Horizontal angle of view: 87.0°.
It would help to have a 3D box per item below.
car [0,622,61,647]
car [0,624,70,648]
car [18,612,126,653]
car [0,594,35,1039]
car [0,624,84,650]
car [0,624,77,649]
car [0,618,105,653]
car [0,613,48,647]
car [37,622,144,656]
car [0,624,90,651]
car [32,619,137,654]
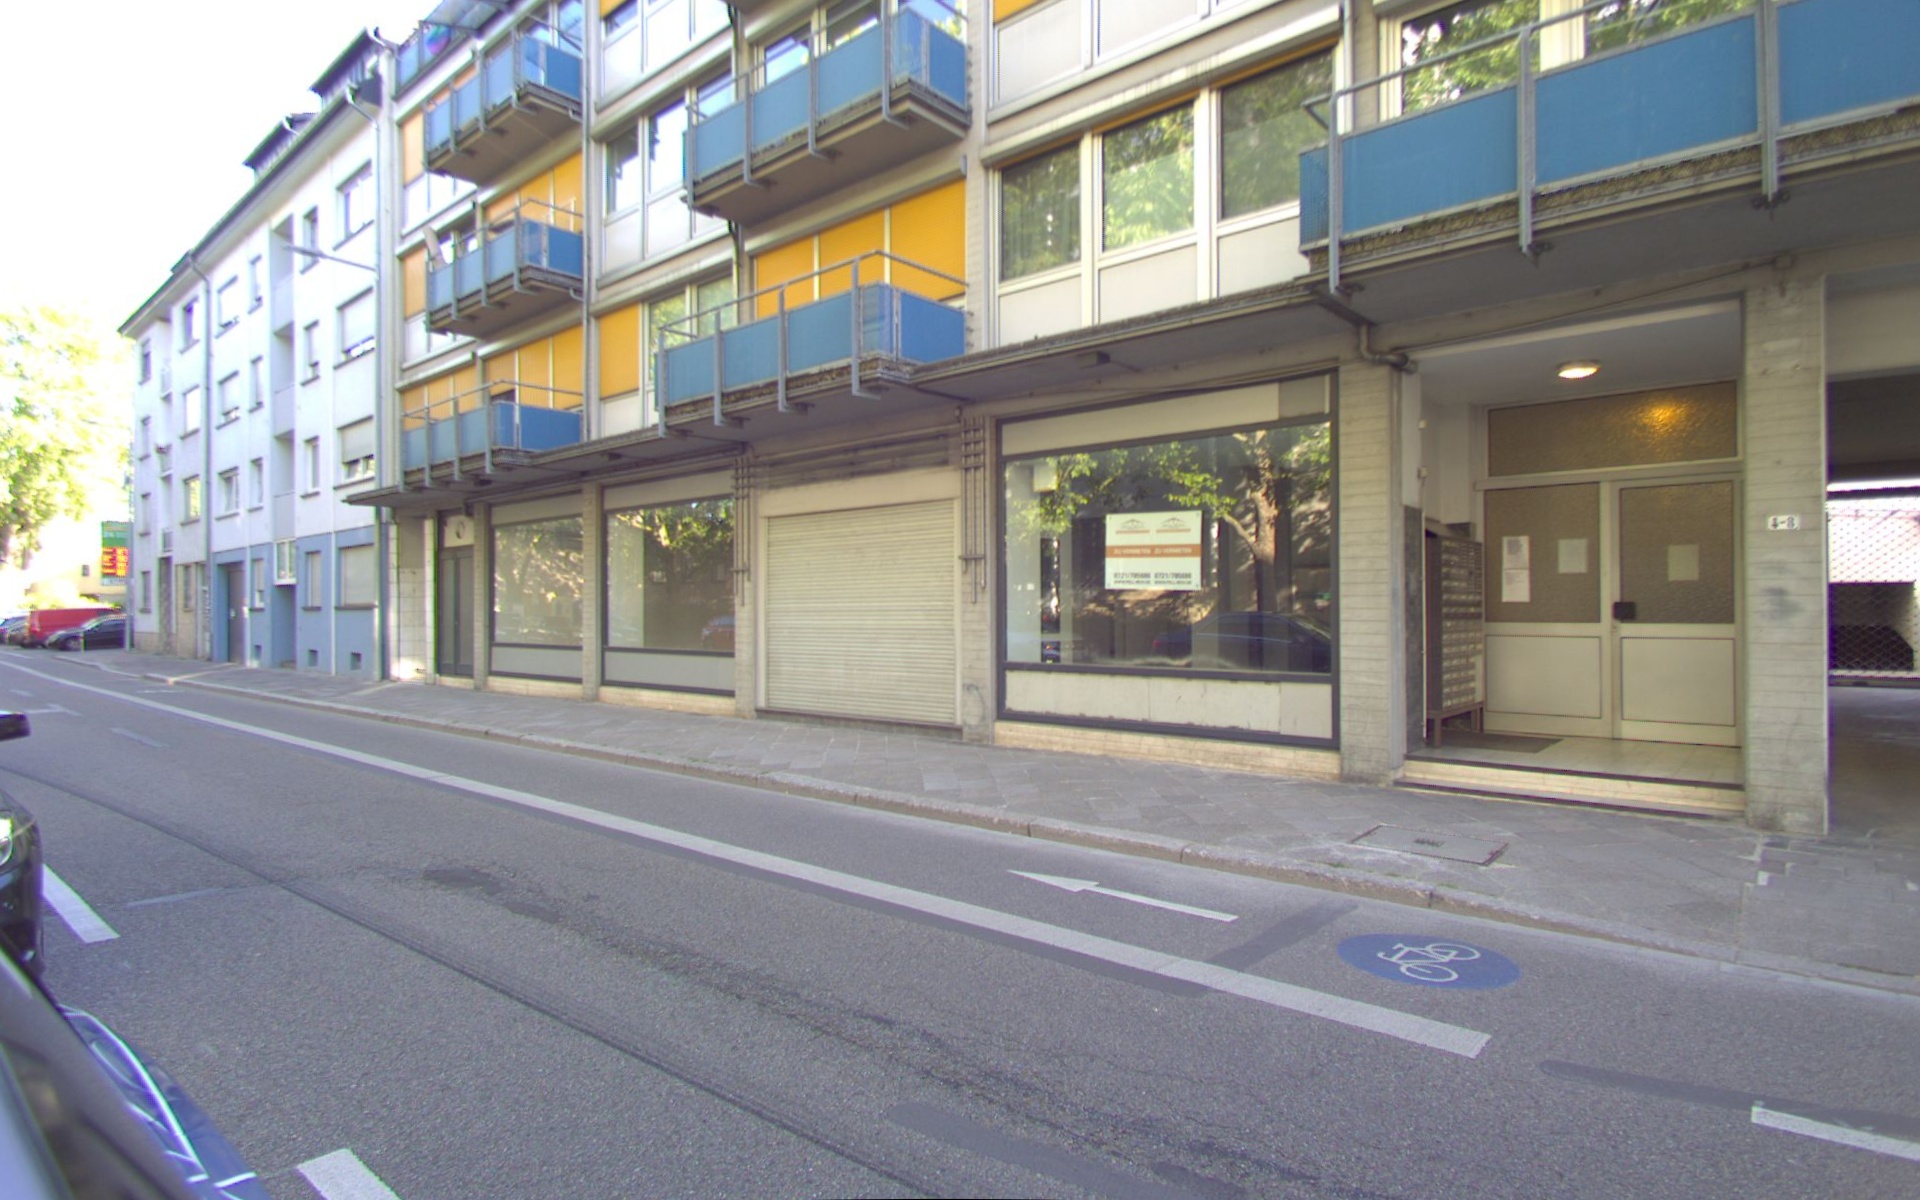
[{"bbox_3d":[-59.216,2.187,63.758,1.539,1.451,3.733,-1,0,42],"label":"car"},{"bbox_3d":[-57.186,2.198,62.000,1.525,1.343,3.854,-1,0,42],"label":"car"},{"bbox_3d":[-43.707,1.564,49.865,1.749,1.921,3.854,-1,-1,42],"label":"car"},{"bbox_3d":[-5.432,0.766,4.208,4.291,1.515,1.805,-1,0,40],"label":"car"},{"bbox_3d":[-53.364,2.114,58.560,1.594,1.385,3.854,-1,0,42],"label":"car"},{"bbox_3d":[-55.380,2.175,60.439,1.525,1.343,3.854,-1,0,42],"label":"car"},{"bbox_3d":[-46.054,1.779,51.403,1.603,1.598,3.854,-1,0,42],"label":"car"},{"bbox_3d":[-62.715,1.965,66.588,1.725,2.193,3.854,-1,0,42],"label":"car"},{"bbox_3d":[-39.796,1.745,46.351,1.534,1.420,3.551,-2,-1,42],"label":"car"},{"bbox_3d":[-51.850,2.095,57.220,1.594,1.385,3.854,-1,0,42],"label":"car"},{"bbox_3d":[-41.514,1.700,48.047,1.602,1.521,3.620,-1,0,42],"label":"car"}]
